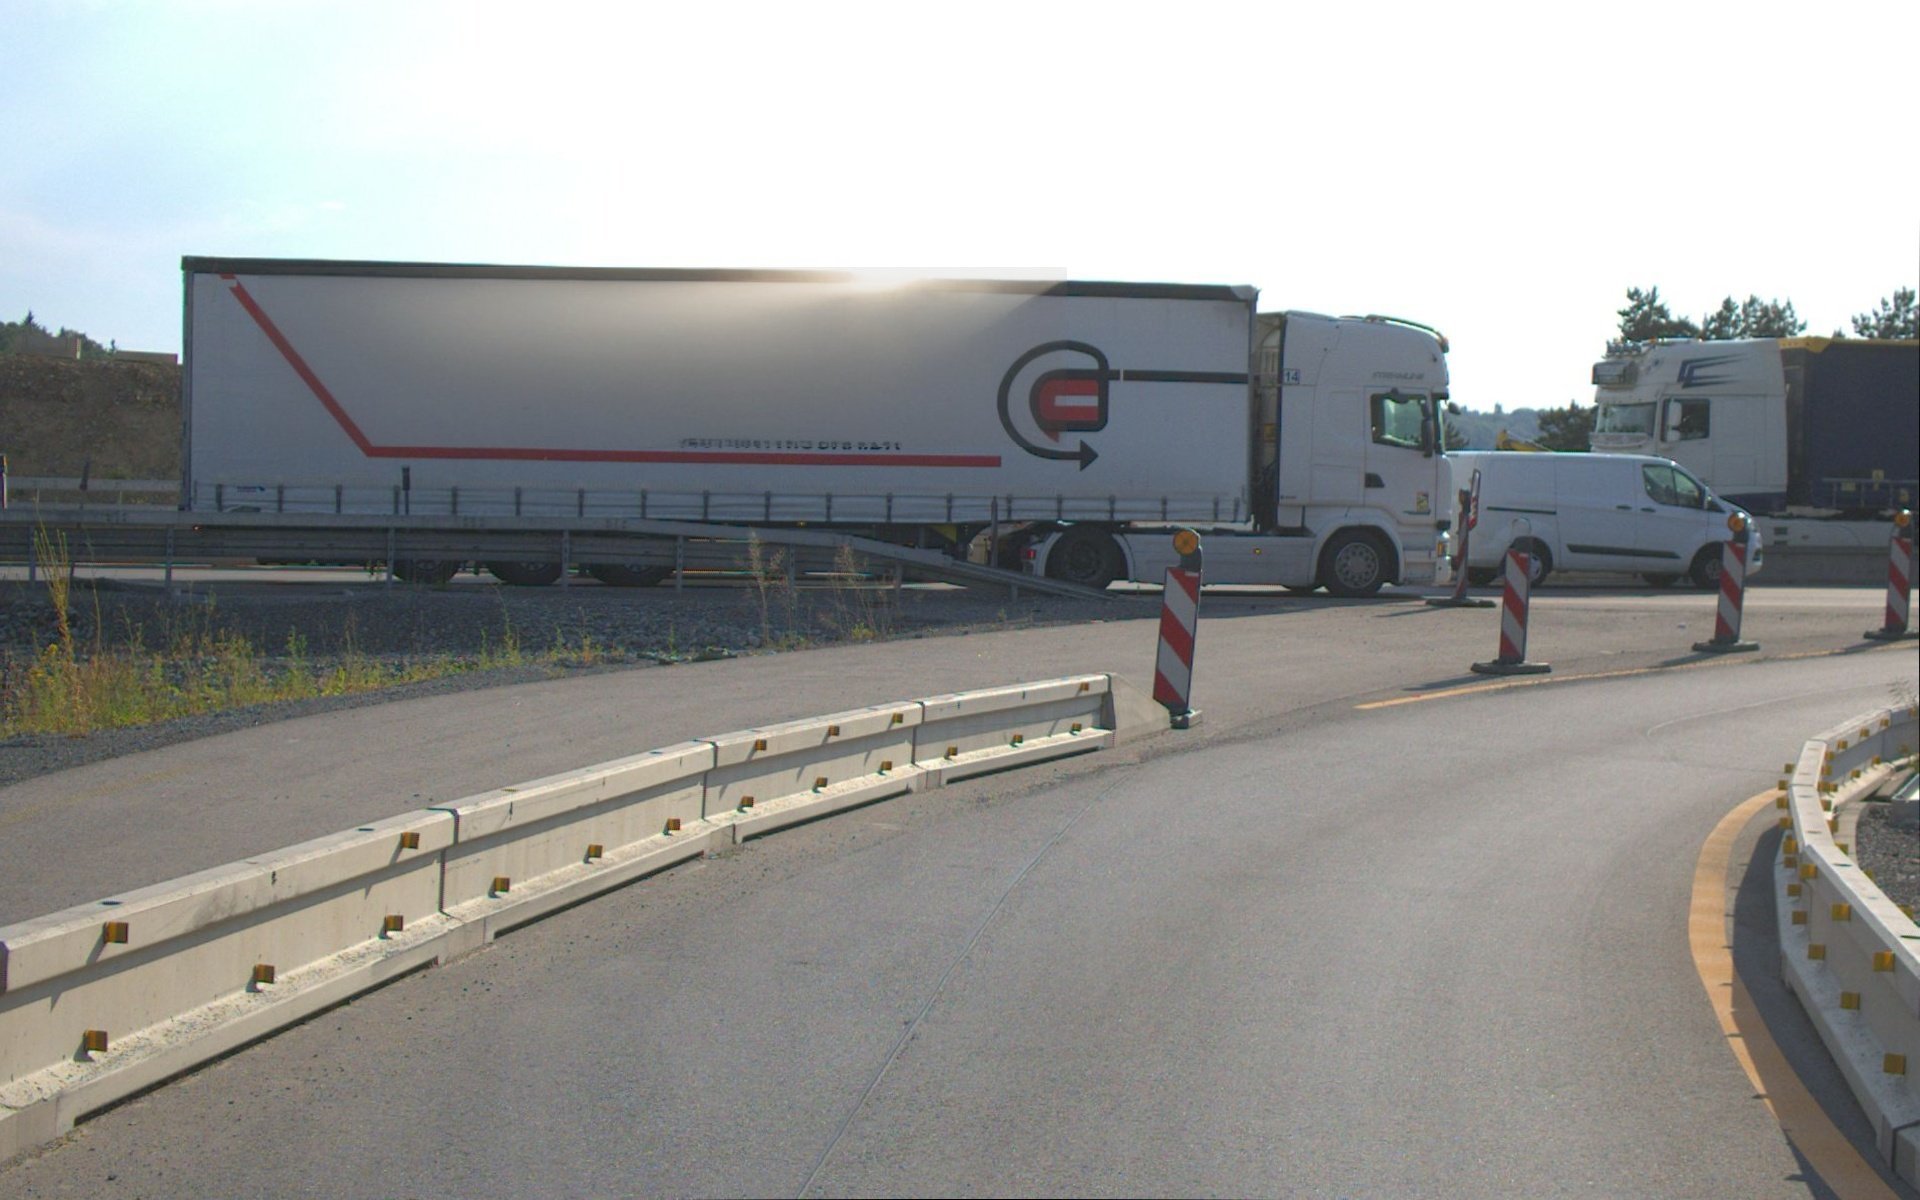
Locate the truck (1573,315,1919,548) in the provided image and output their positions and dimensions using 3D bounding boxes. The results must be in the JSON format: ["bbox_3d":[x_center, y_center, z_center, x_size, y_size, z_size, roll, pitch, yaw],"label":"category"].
[{"bbox_3d":[13.800,-2.820,58.935,5.667,3.714,3.007,1,0,-13],"label":"truck"}]

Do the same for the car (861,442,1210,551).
[{"bbox_3d":[1.132,-1.595,52.613,4.961,1.495,2.036,1,4,-12],"label":"car"}]

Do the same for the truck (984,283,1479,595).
[{"bbox_3d":[3.584,-2.106,45.912,5.990,3.865,2.489,1,2,-13],"label":"truck"}]

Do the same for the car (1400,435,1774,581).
[{"bbox_3d":[9.220,-1.365,50.698,4.961,1.974,2.036,1,4,-12],"label":"car"}]

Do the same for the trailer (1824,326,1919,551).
[{"bbox_3d":[20.309,-2.660,60.335,9.536,3.739,3.017,1,0,-12],"label":"trailer"}]

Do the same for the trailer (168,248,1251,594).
[{"bbox_3d":[-3.179,-2.210,44.284,13.582,3.865,2.489,1,2,-13],"label":"trailer"}]
